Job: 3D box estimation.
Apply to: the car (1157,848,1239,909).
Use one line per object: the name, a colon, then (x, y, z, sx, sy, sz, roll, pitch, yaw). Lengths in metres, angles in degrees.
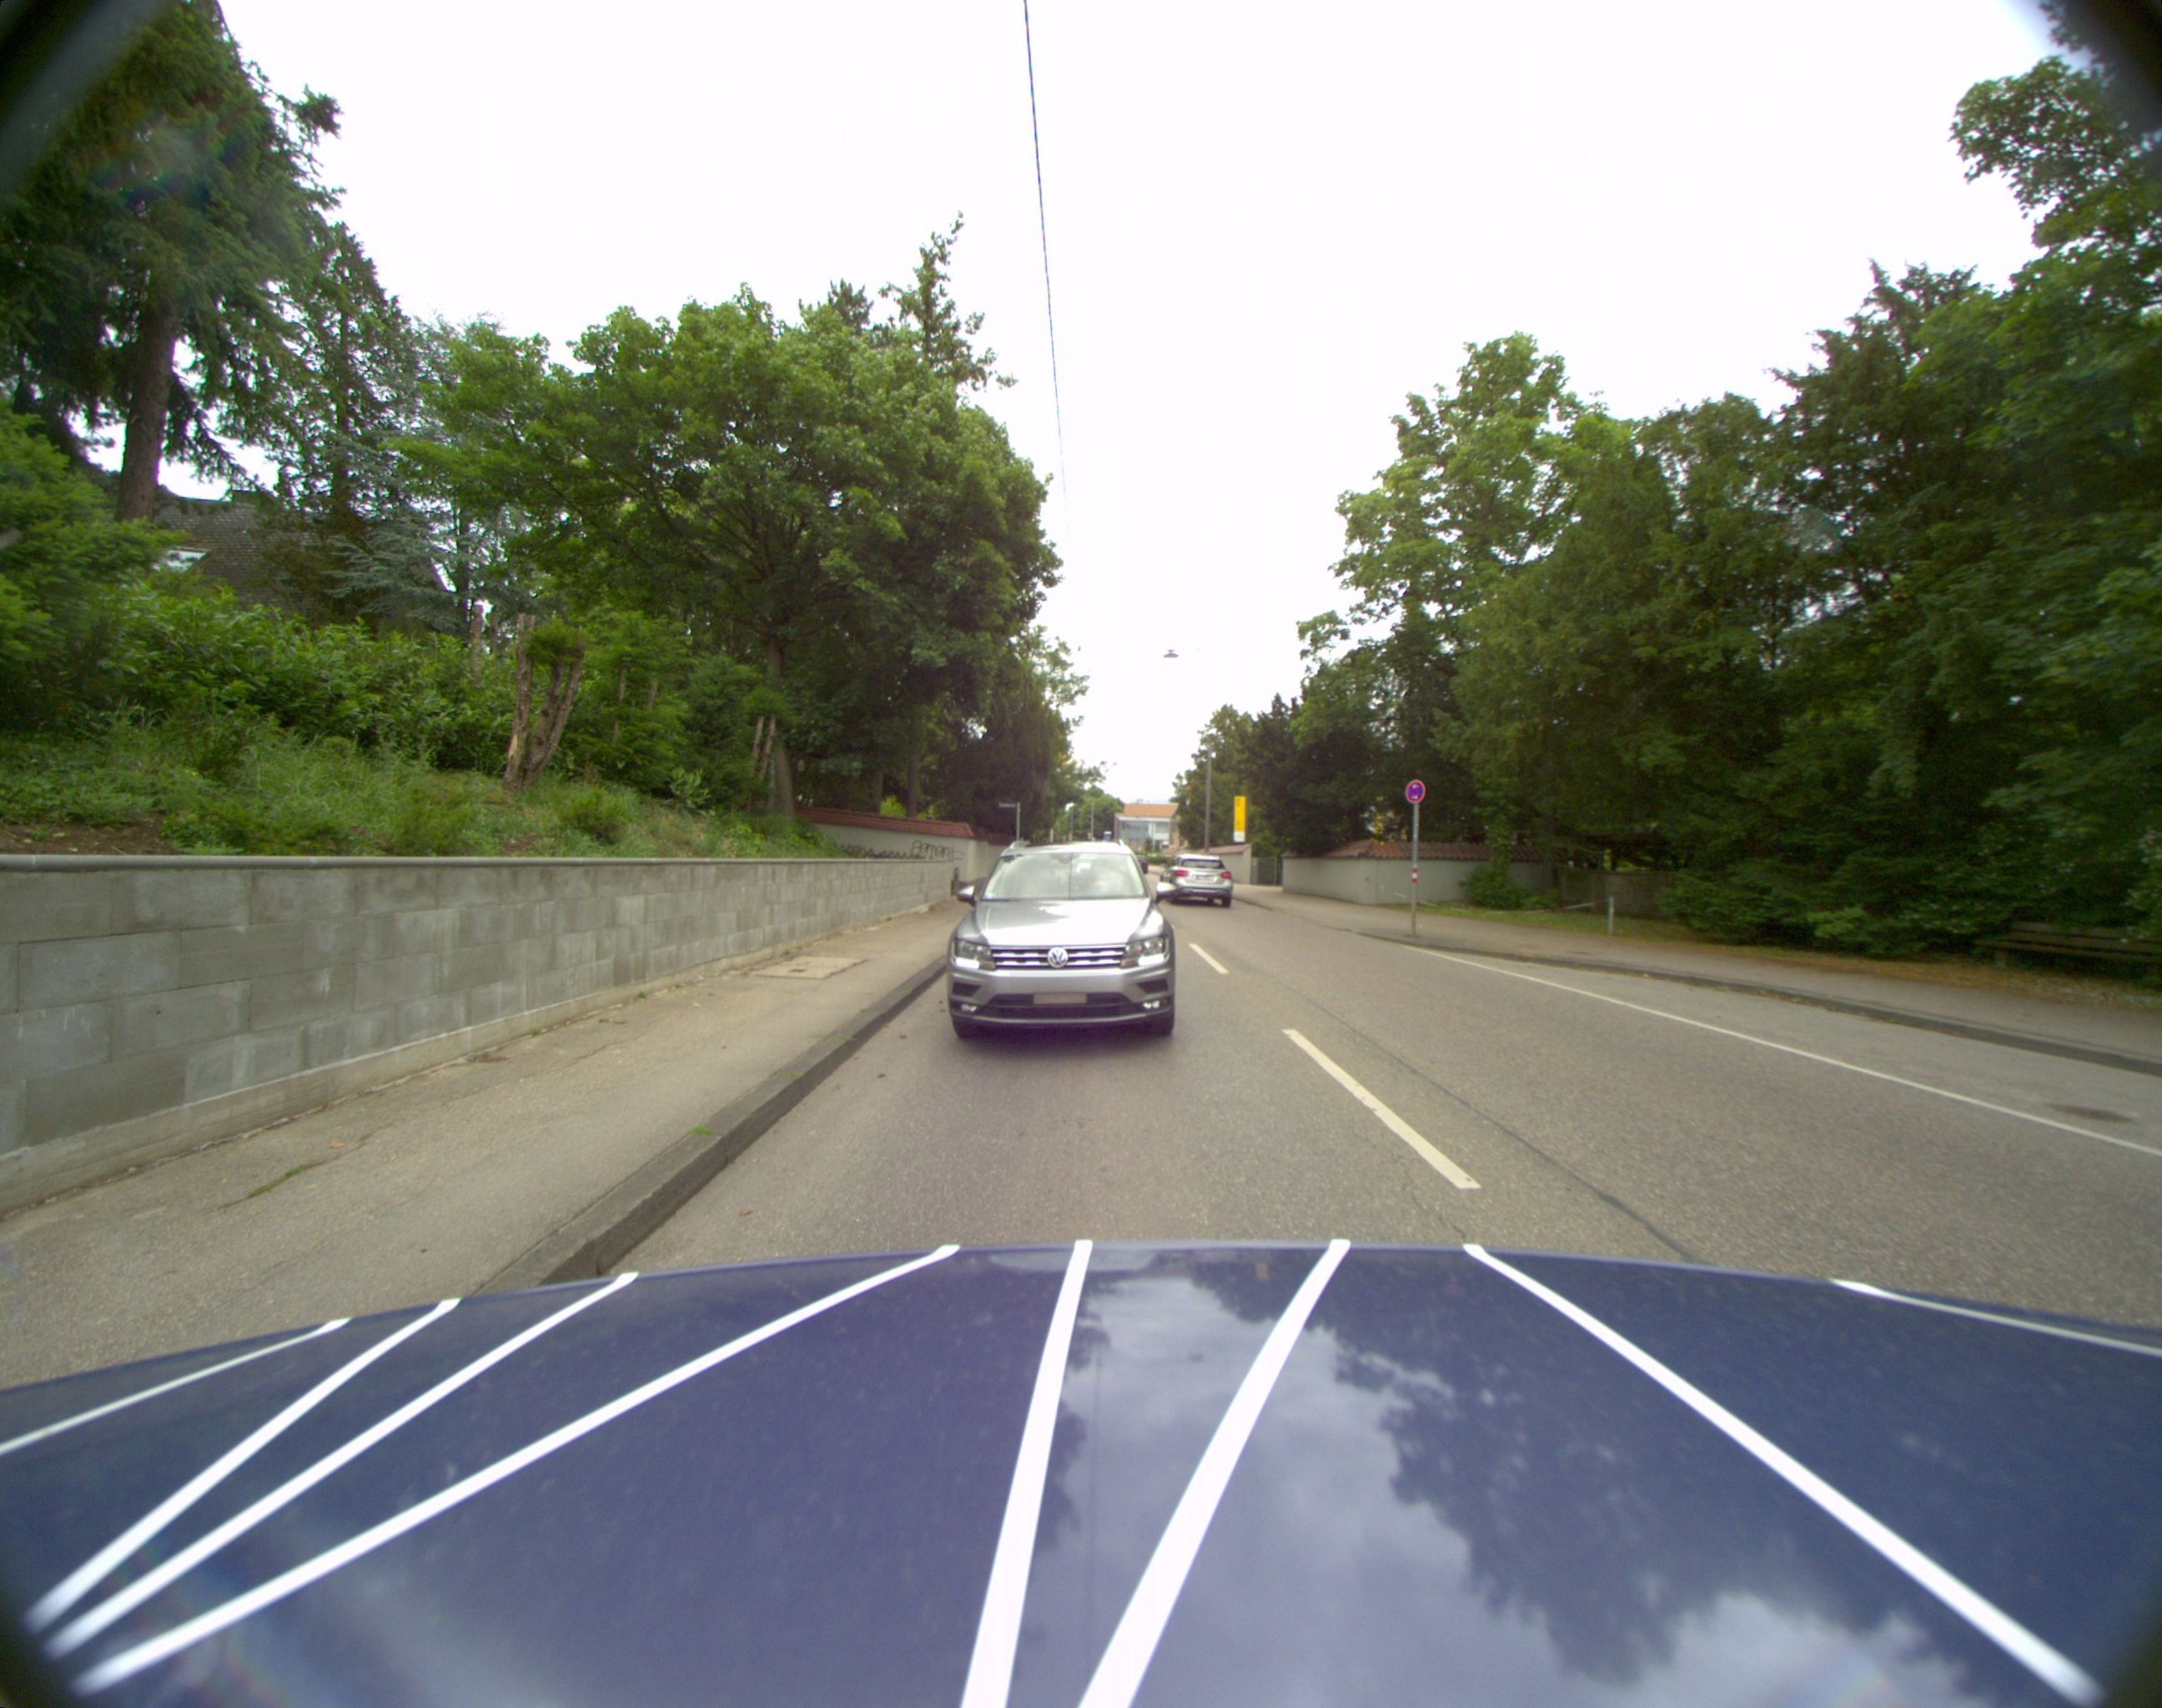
car: (3.530, 0.684, 23.672, 1.789, 1.644, 4.120, 3, 0, -1)

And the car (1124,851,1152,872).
car: (4.425, 0.577, 59.408, 1.864, 1.445, 4.110, 3, 0, 1)

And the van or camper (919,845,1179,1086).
van or camper: (-0.198, 0.763, 7.380, 1.800, 1.663, 4.198, 0, 0, 1)

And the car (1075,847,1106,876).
car: (0.592, 0.422, 47.548, 1.789, 1.644, 4.120, 3, 0, 1)

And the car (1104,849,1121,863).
car: (3.685, 0.219, 90.547, 1.864, 1.648, 4.305, 2, 0, 1)
